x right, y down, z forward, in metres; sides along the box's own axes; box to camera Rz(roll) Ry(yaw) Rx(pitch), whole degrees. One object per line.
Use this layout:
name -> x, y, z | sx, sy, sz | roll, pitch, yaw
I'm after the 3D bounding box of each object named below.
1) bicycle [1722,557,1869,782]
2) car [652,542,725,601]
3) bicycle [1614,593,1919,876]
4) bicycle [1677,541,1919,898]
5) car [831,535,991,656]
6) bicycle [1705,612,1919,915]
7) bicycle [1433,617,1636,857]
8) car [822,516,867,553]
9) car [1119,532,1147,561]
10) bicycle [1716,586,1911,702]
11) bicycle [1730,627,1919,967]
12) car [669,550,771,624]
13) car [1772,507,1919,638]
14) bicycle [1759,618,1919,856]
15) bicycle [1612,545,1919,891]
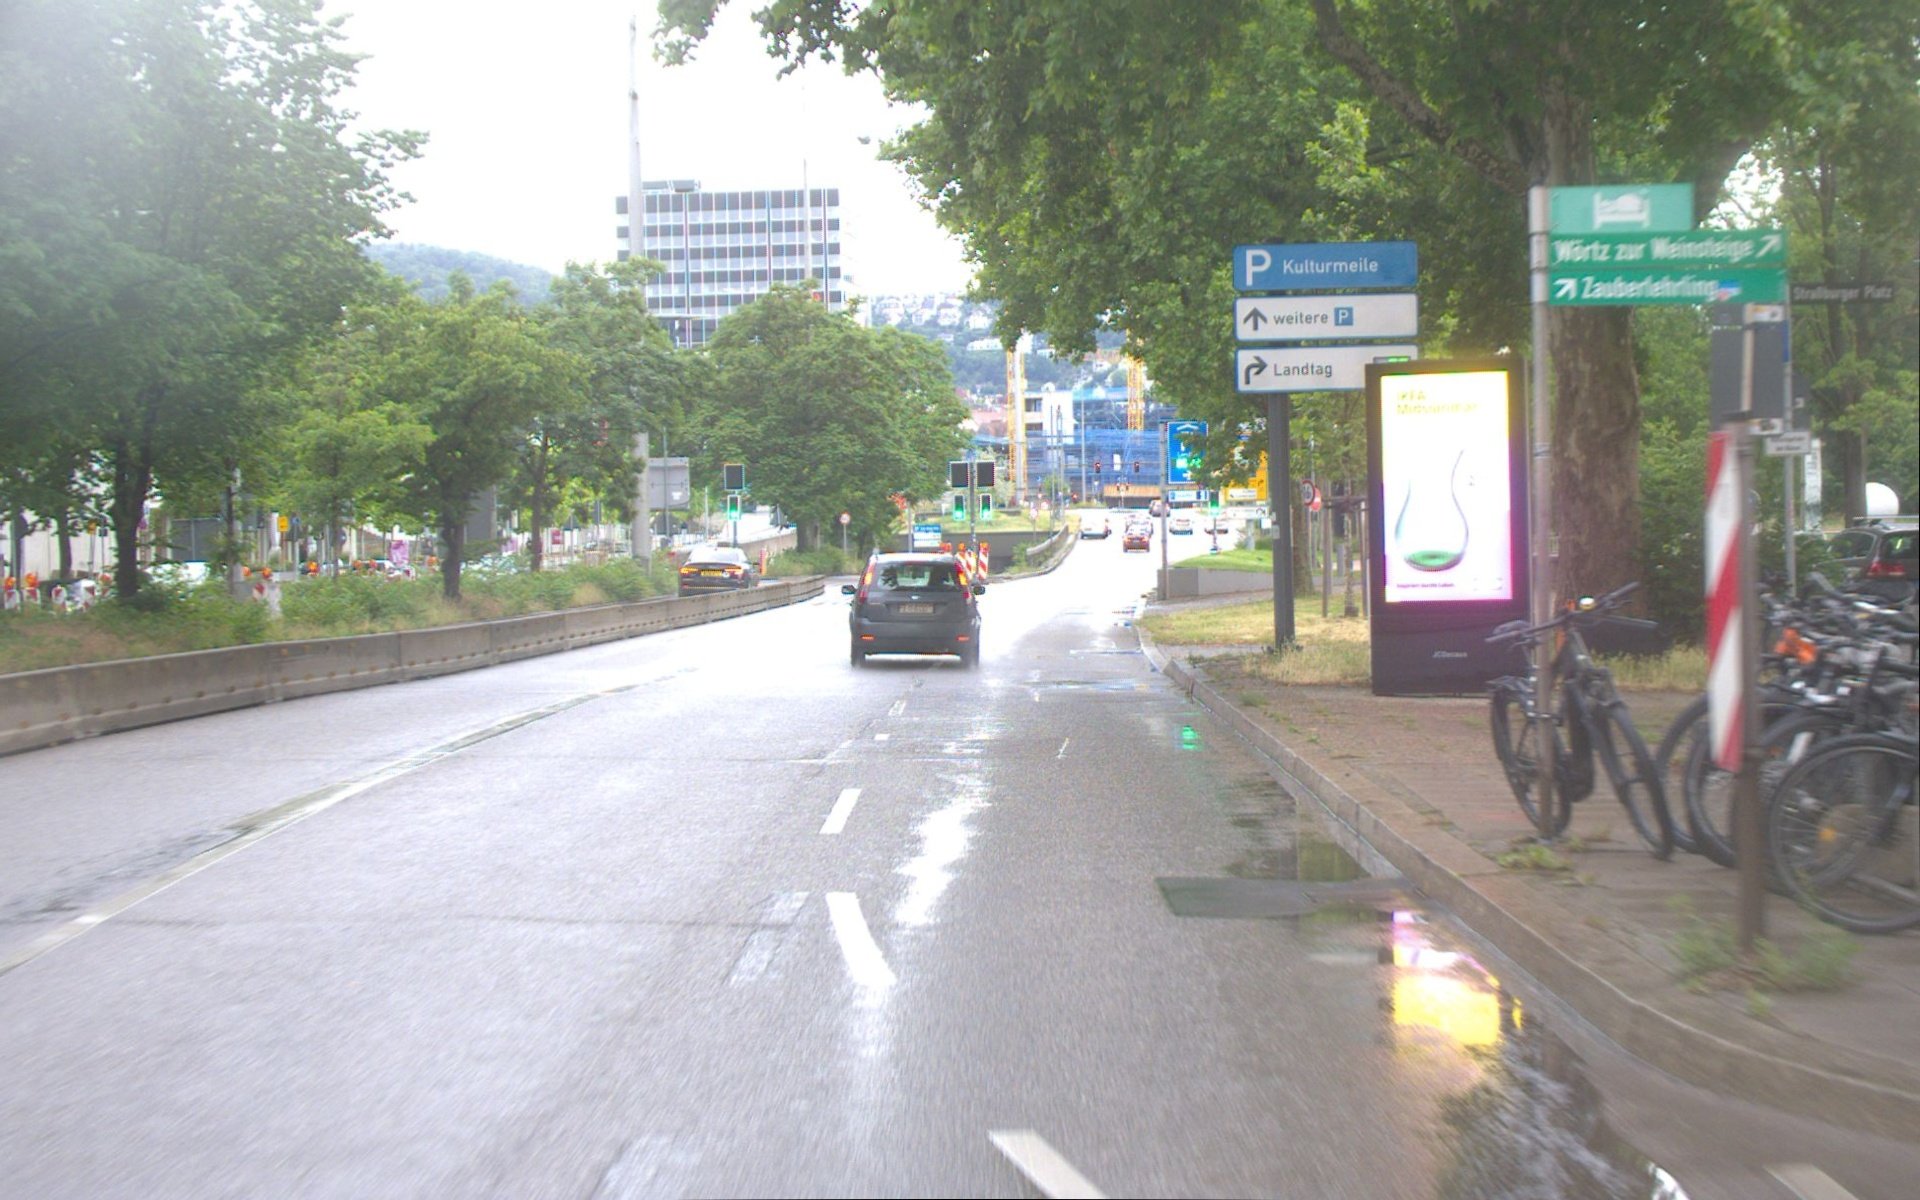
bicycle -> 4.725, 0.373, 19.526 | 0.605, 1.193, 1.904 | -3, 0, 9
car -> -7.417, -0.793, 94.138 | 1.754, 1.446, 4.000 | 4, 1, -2
bicycle -> 3.565, 0.539, 14.069 | 1.679, 1.118, 0.601 | -1, 1, 4
bicycle -> 3.759, 0.440, 13.149 | 1.906, 1.328, 0.650 | -1, 0, 4
car -> -0.678, -0.048, 44.553 | 1.844, 1.411, 3.839 | -3, 0, -3
bicycle -> 3.669, 0.591, 12.757 | 1.679, 1.086, 0.650 | -1, 0, 4
bicycle -> 2.540, 0.571, 15.073 | 0.669, 0.964, 1.636 | 0, 0, 17
car -> -5.232, -2.960, 156.200 | 1.993, 1.626, 4.000 | -1, 1, -2
car -> 11.733, -3.615, 232.873 | 1.739, 1.765, 3.999 | -3, 0, 4
bicycle -> 7.758, 0.394, 31.305 | 1.641, 1.017, 0.575 | 1, 0, 7
bicycle -> 3.610, 0.620, 11.267 | 1.985, 1.056, 0.759 | -1, 0, -1
car -> -6.074, -0.348, 87.371 | 1.994, 1.775, 4.000 | -1, 1, 4
car -> 12.519, -0.422, 46.219 | 1.993, 1.604, 5.237 | -1, 2, 1
bicycle -> 4.288, 0.578, 14.783 | 1.589, 0.991, 0.524 | -1, 1, 4
bicycle -> 3.732, 0.450, 13.604 | 2.191, 1.332, 0.650 | -1, 0, 4
